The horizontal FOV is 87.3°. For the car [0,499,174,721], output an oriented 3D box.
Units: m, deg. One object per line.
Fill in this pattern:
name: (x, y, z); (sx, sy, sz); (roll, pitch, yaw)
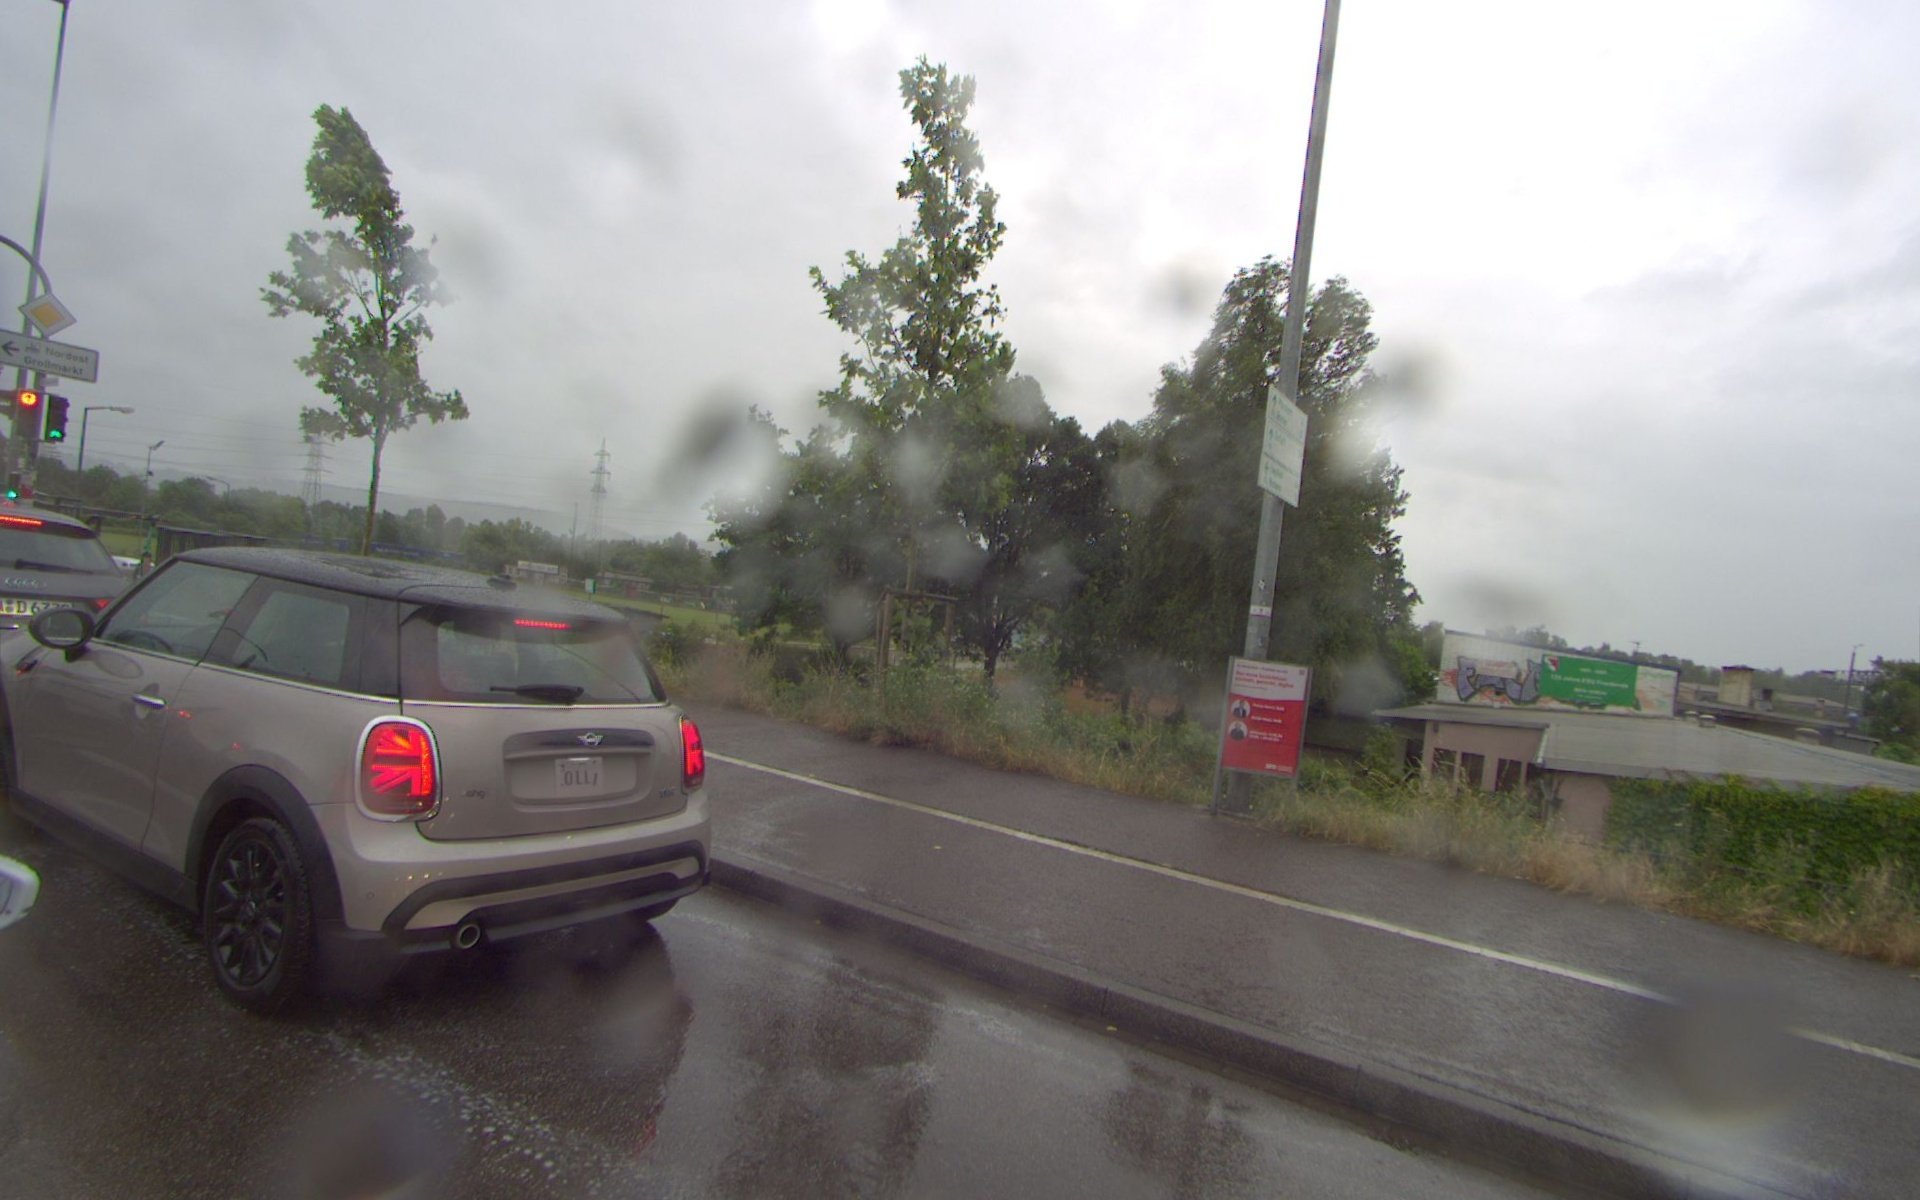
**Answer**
car: (-7.486, -0.067, 7.250); (3.570, 1.383, 1.600); (5, -1, 30)

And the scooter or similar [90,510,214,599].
scooter or similar: (-13.883, -0.800, 17.251); (2.971, 1.226, 0.691); (7, 0, 33)

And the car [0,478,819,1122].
car: (-2.712, 0.472, 4.265); (3.815, 1.524, 1.707); (7, -4, 32)
